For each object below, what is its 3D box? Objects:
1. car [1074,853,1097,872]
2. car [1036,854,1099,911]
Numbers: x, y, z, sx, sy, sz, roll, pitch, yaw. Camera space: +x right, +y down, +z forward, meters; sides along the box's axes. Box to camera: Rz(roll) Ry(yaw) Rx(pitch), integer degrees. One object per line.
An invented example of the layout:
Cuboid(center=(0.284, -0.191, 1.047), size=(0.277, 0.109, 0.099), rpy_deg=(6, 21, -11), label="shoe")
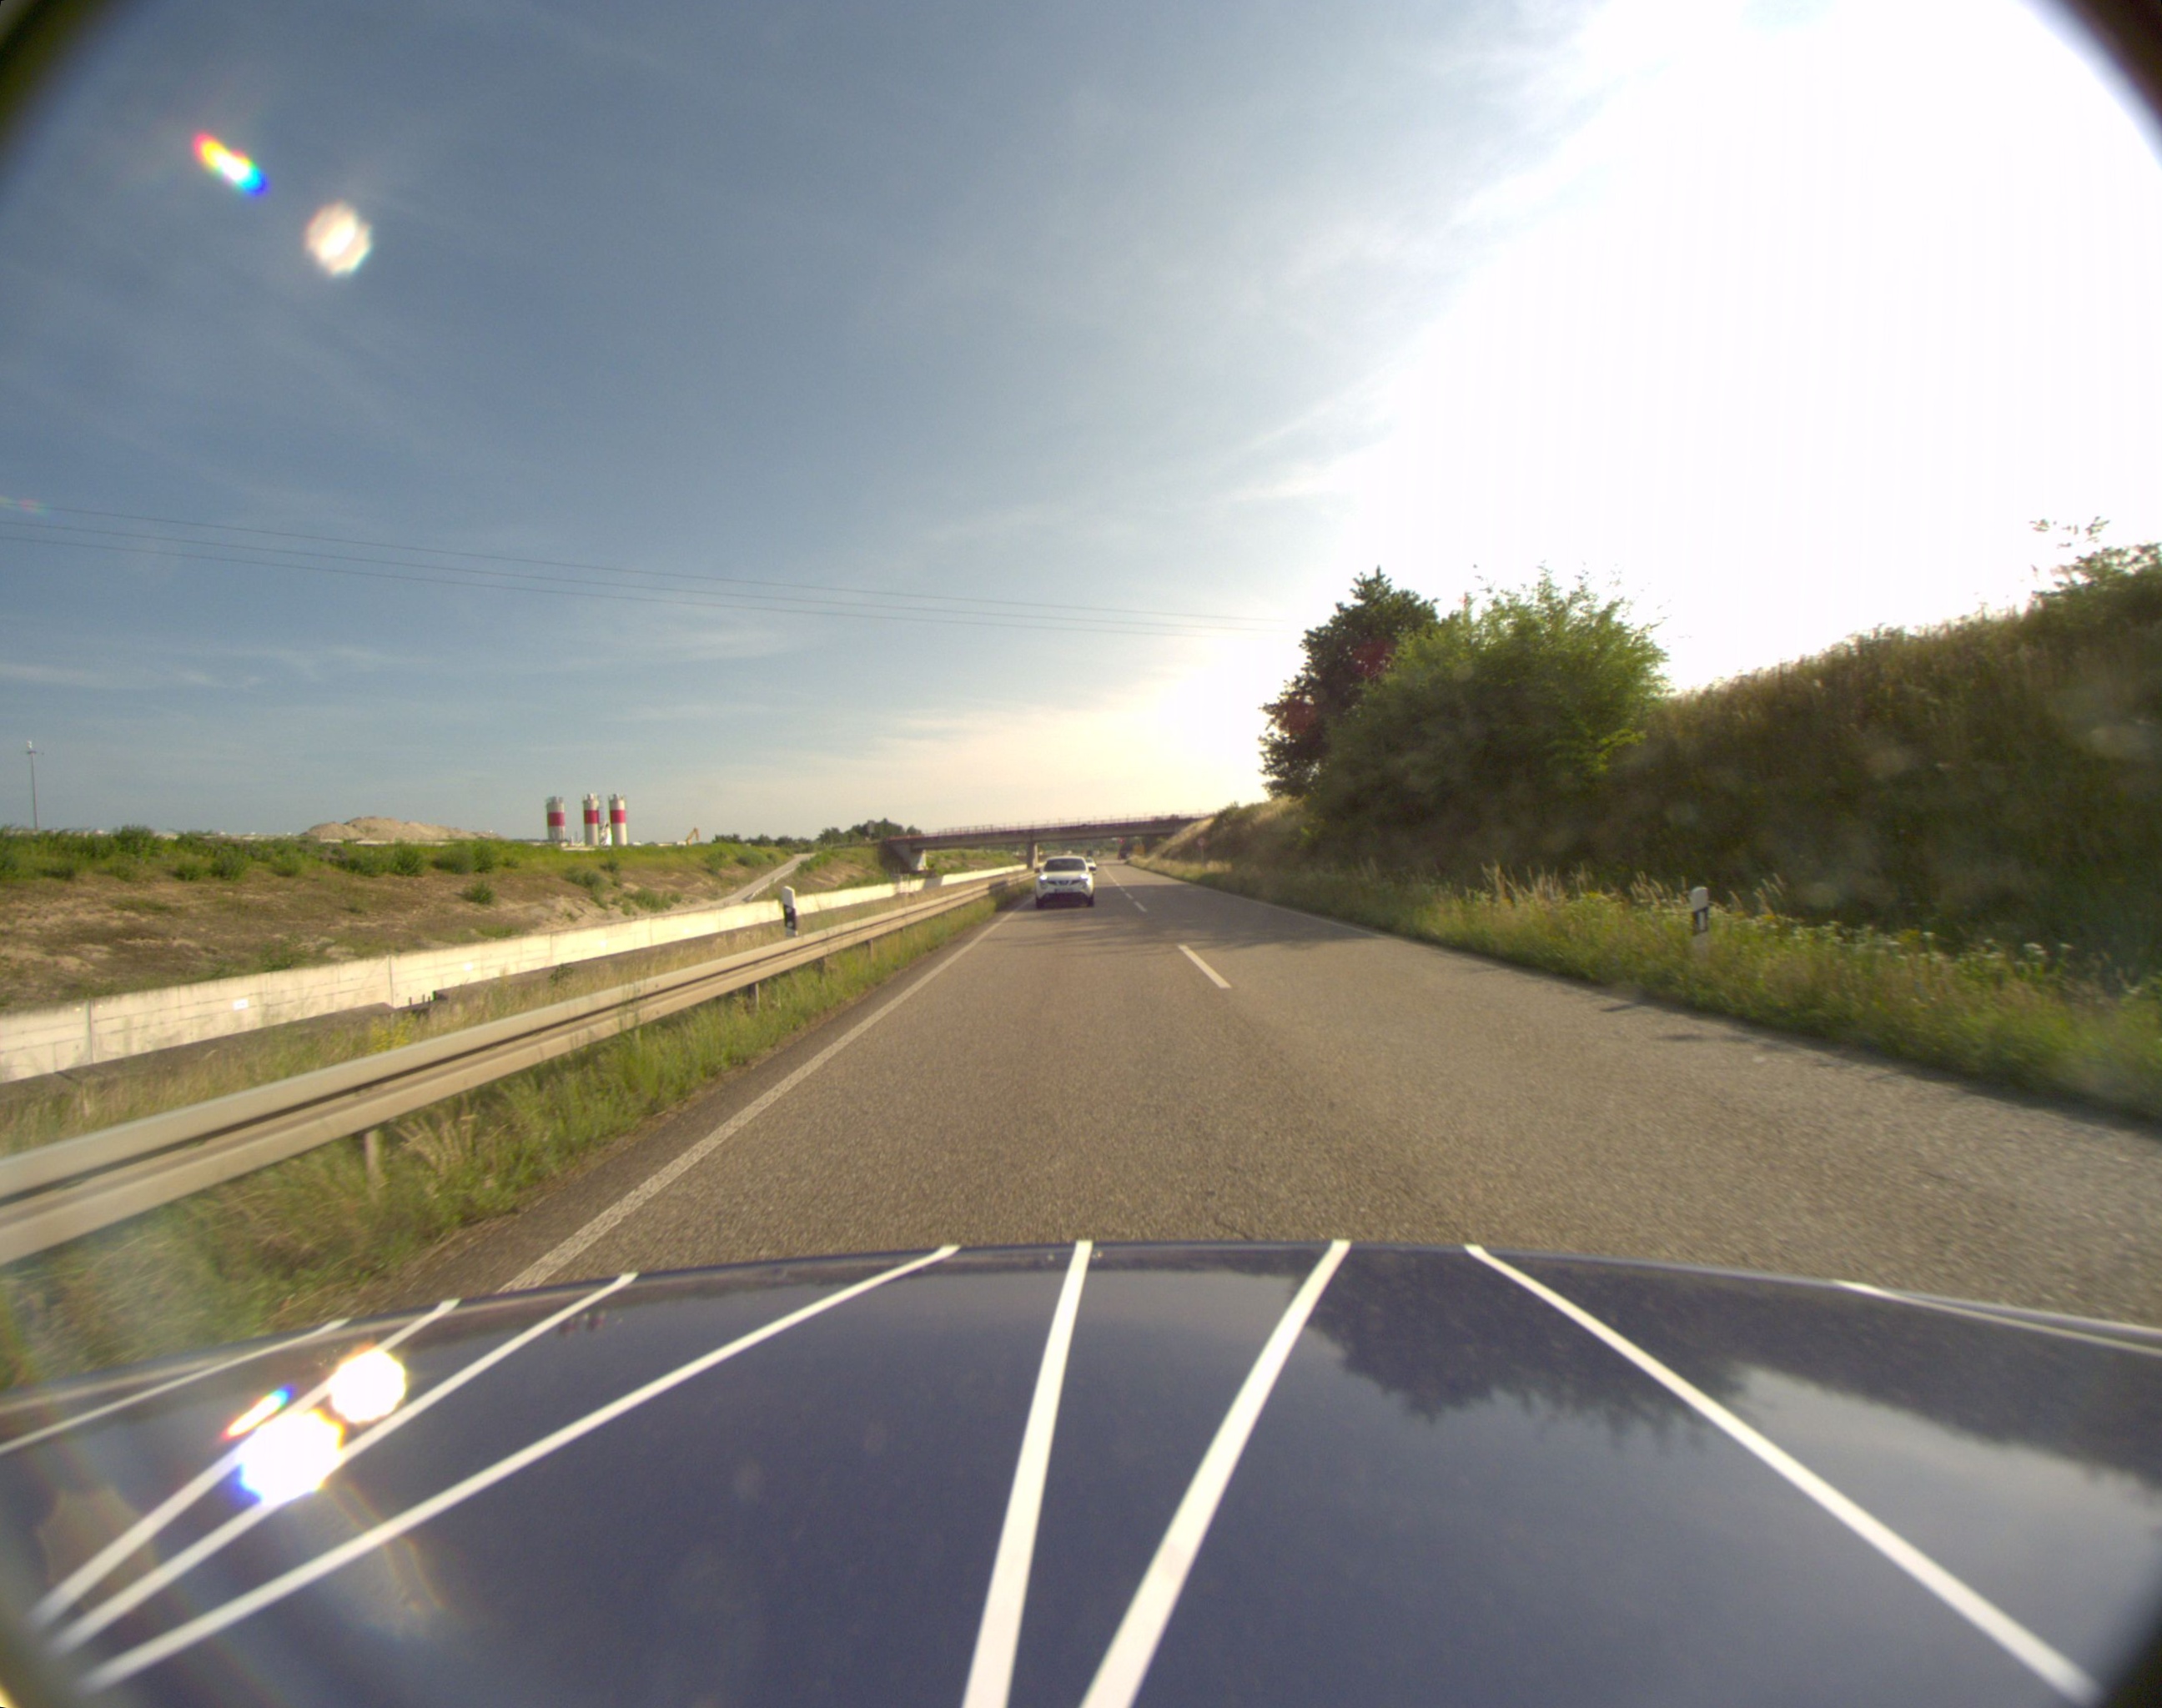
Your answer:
Cuboid(center=(0.438, 0.734, 66.699), size=(1.908, 1.512, 4.465), rpy_deg=(-2, 0, 1), label="car")
Cuboid(center=(-0.459, 0.832, 24.600), size=(1.789, 1.593, 4.571), rpy_deg=(-2, 0, -1), label="car")
